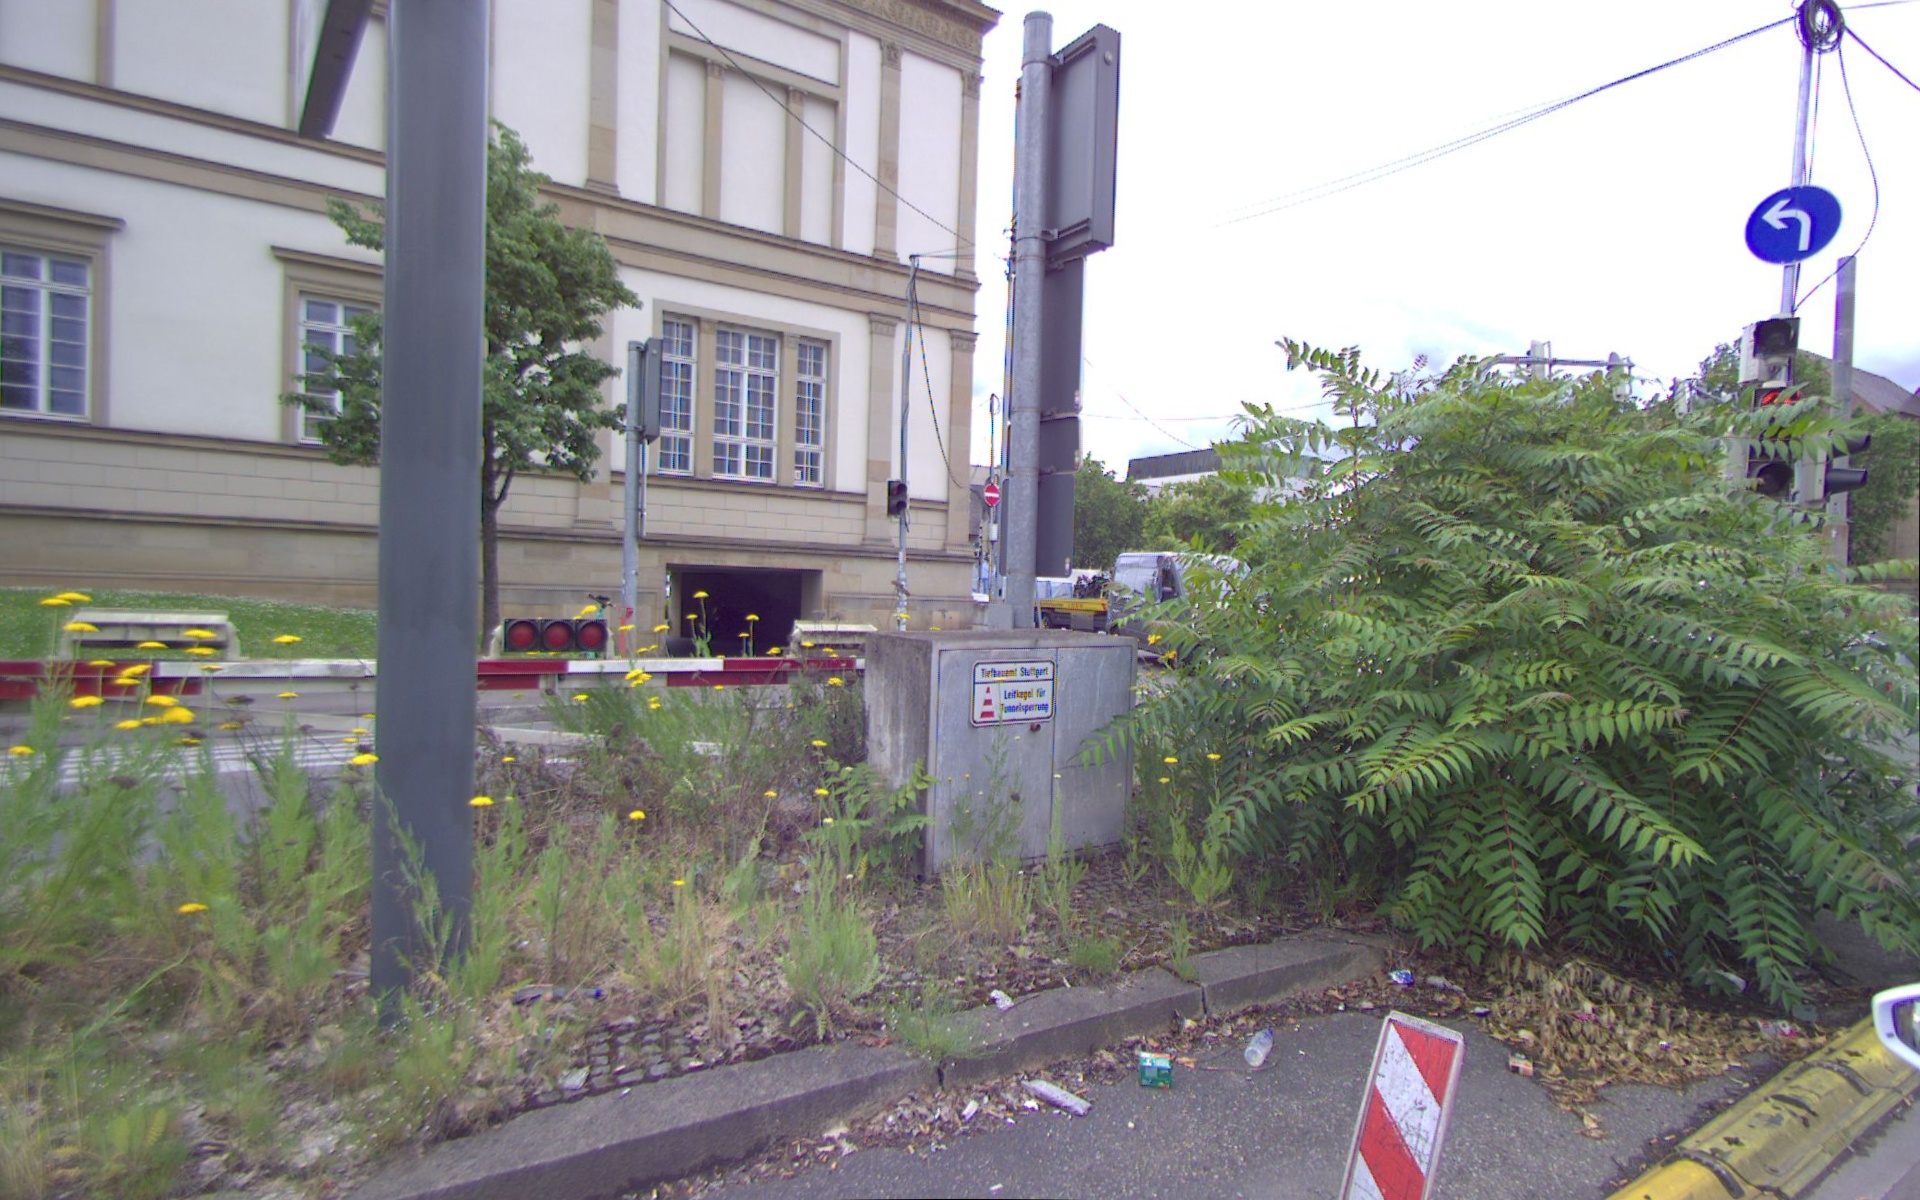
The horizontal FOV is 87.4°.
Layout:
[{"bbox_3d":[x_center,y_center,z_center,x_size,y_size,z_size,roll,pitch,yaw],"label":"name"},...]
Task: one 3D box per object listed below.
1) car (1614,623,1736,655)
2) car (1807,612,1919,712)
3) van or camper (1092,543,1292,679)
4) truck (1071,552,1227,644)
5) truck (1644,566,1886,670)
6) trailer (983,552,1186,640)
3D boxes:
[{"bbox_3d":[37.335,1.997,52.523,5.068,1.438,2.229,2,0,38],"label":"car"},{"bbox_3d":[16.562,1.046,16.018,1.978,1.560,4.272,2,0,-31],"label":"car"},{"bbox_3d":[4.979,0.219,22.747,2.121,2.645,6.071,1,0,-10],"label":"van or camper"},{"bbox_3d":[6.095,-0.041,32.747,2.835,2.761,4.175,2,0,-36],"label":"truck"},{"bbox_3d":[41.898,0.805,52.785,9.594,5.026,3.101,2,0,38],"label":"truck"},{"bbox_3d":[4.178,-0.154,35.401,2.835,2.761,7.297,2,0,-36],"label":"trailer"}]
